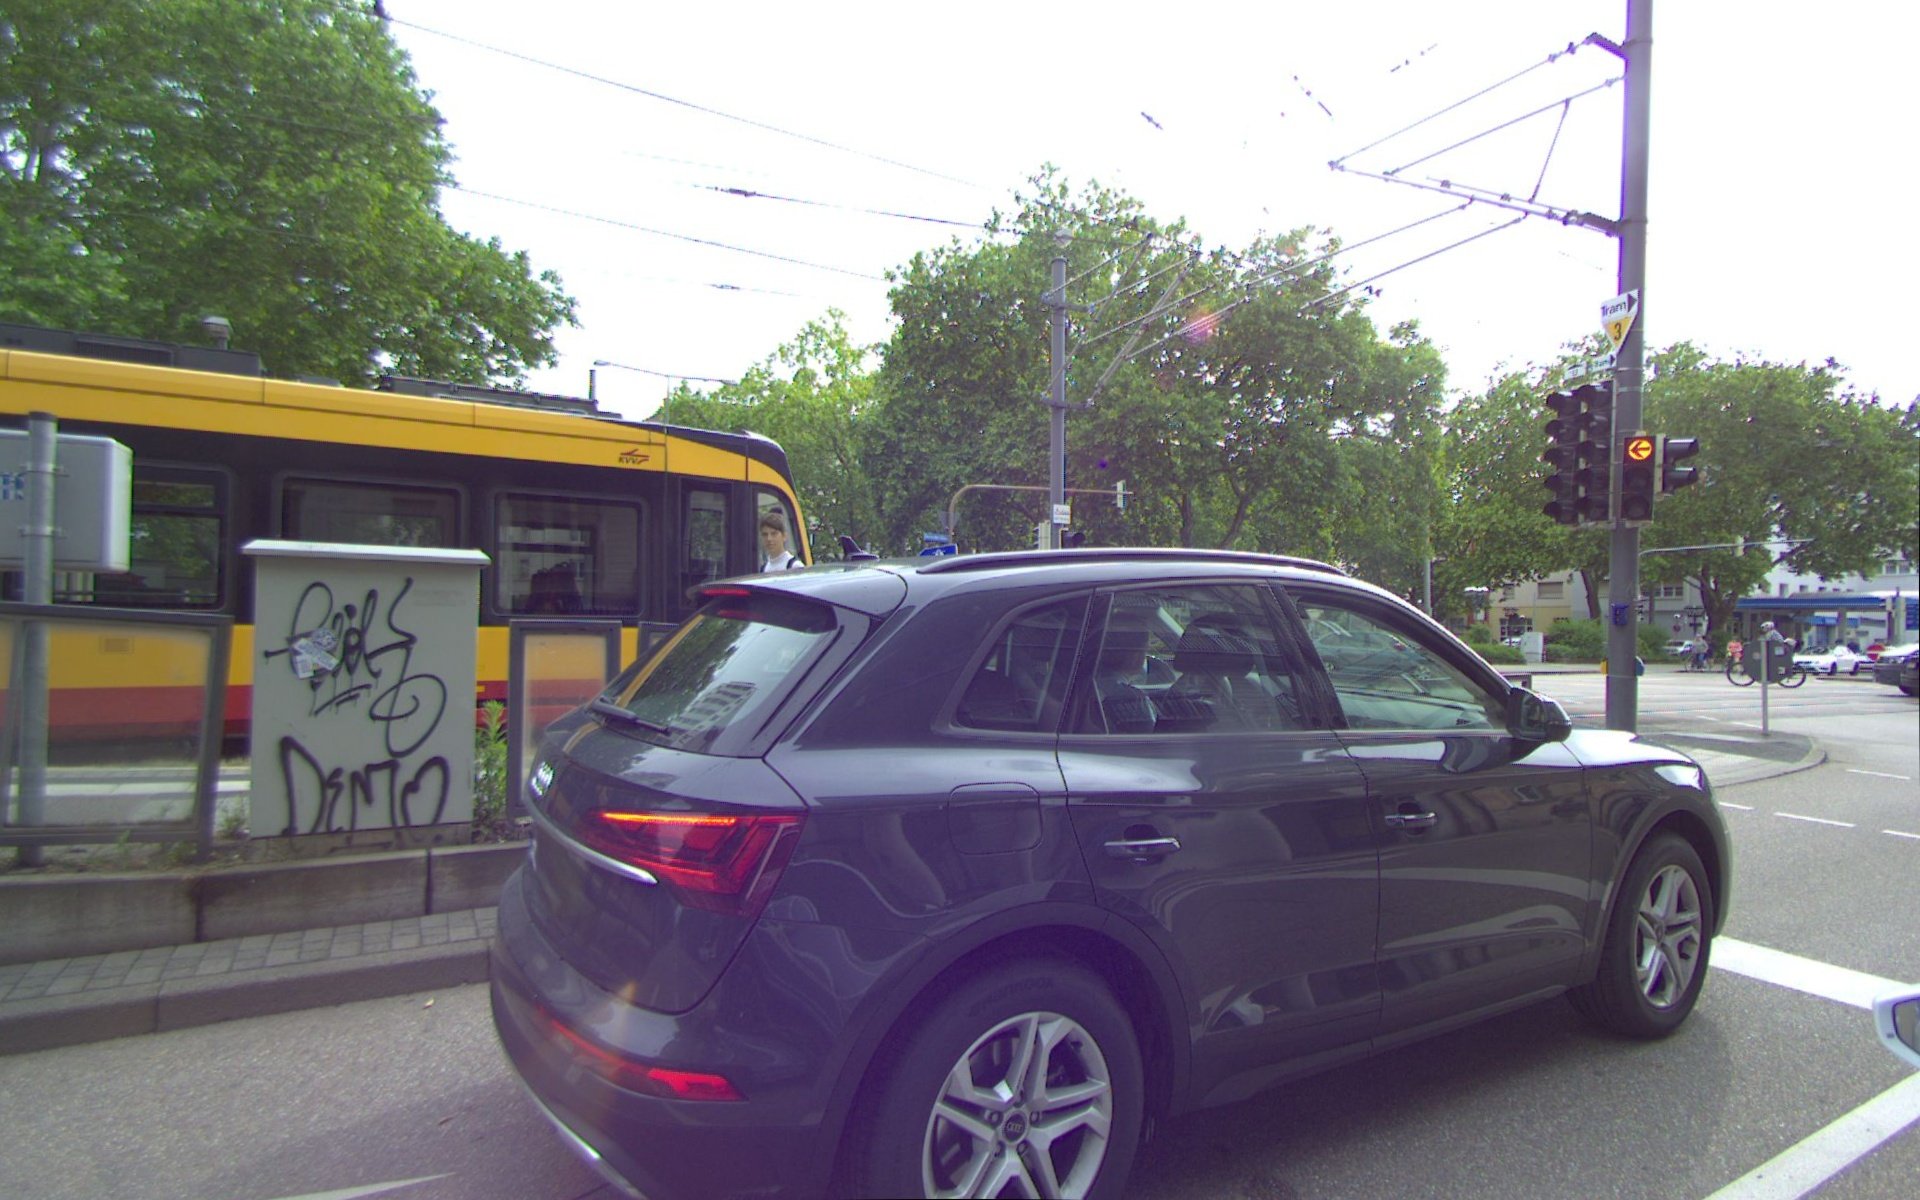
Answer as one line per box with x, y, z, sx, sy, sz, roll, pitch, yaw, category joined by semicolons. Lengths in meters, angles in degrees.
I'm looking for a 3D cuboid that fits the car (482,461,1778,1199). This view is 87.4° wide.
0.803;0.656;3.528;4.308;1.622;1.870;2;-1;-31;car

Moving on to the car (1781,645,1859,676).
41.374;2.909;48.304;3.954;1.343;1.626;2;0;-31;car

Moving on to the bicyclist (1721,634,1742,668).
37.230;2.475;48.459;0.611;1.588;0.585;2;0;-30;bicyclist

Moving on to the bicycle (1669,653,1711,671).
35.766;3.040;49.205;0.644;0.783;1.682;2;0;-9;bicycle

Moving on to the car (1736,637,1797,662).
54.733;3.350;68.161;3.954;1.550;1.984;2;0;-30;car

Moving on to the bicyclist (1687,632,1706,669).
35.937;2.462;49.013;0.461;1.808;0.534;2;0;-10;bicyclist

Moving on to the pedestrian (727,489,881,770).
-1.021;0.185;6.517;0.722;1.683;0.750;2;0;-30;pedestrian

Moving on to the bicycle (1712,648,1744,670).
36.996;2.836;48.400;1.914;1.031;0.519;2;0;-30;bicycle

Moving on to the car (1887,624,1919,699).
22.637;1.385;21.132;4.263;1.607;1.808;2;0;30;car

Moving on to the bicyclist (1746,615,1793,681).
23.490;1.374;29.157;0.951;1.843;0.531;2;0;32;bicyclist

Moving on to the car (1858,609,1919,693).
24.797;1.292;23.934;4.798;1.993;1.983;2;0;35;car

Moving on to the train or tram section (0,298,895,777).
-8.281;-0.496;8.821;15.665;3.636;3.045;2;0;-31;train or tram section

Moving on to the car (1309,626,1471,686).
12.127;1.526;28.405;3.927;1.489;1.835;1;-1;36;car

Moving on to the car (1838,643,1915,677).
46.946;3.081;51.458;3.792;1.578;1.885;2;0;-30;car

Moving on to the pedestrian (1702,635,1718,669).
40.671;2.835;54.486;0.541;1.808;0.375;2;0;-6;pedestrian

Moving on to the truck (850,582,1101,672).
0.314;0.884;38.128;10.022;2.980;2.626;1;0;39;truck

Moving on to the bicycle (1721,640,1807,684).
23.341;1.776;29.201;1.873;1.158;0.627;2;0;32;bicycle
